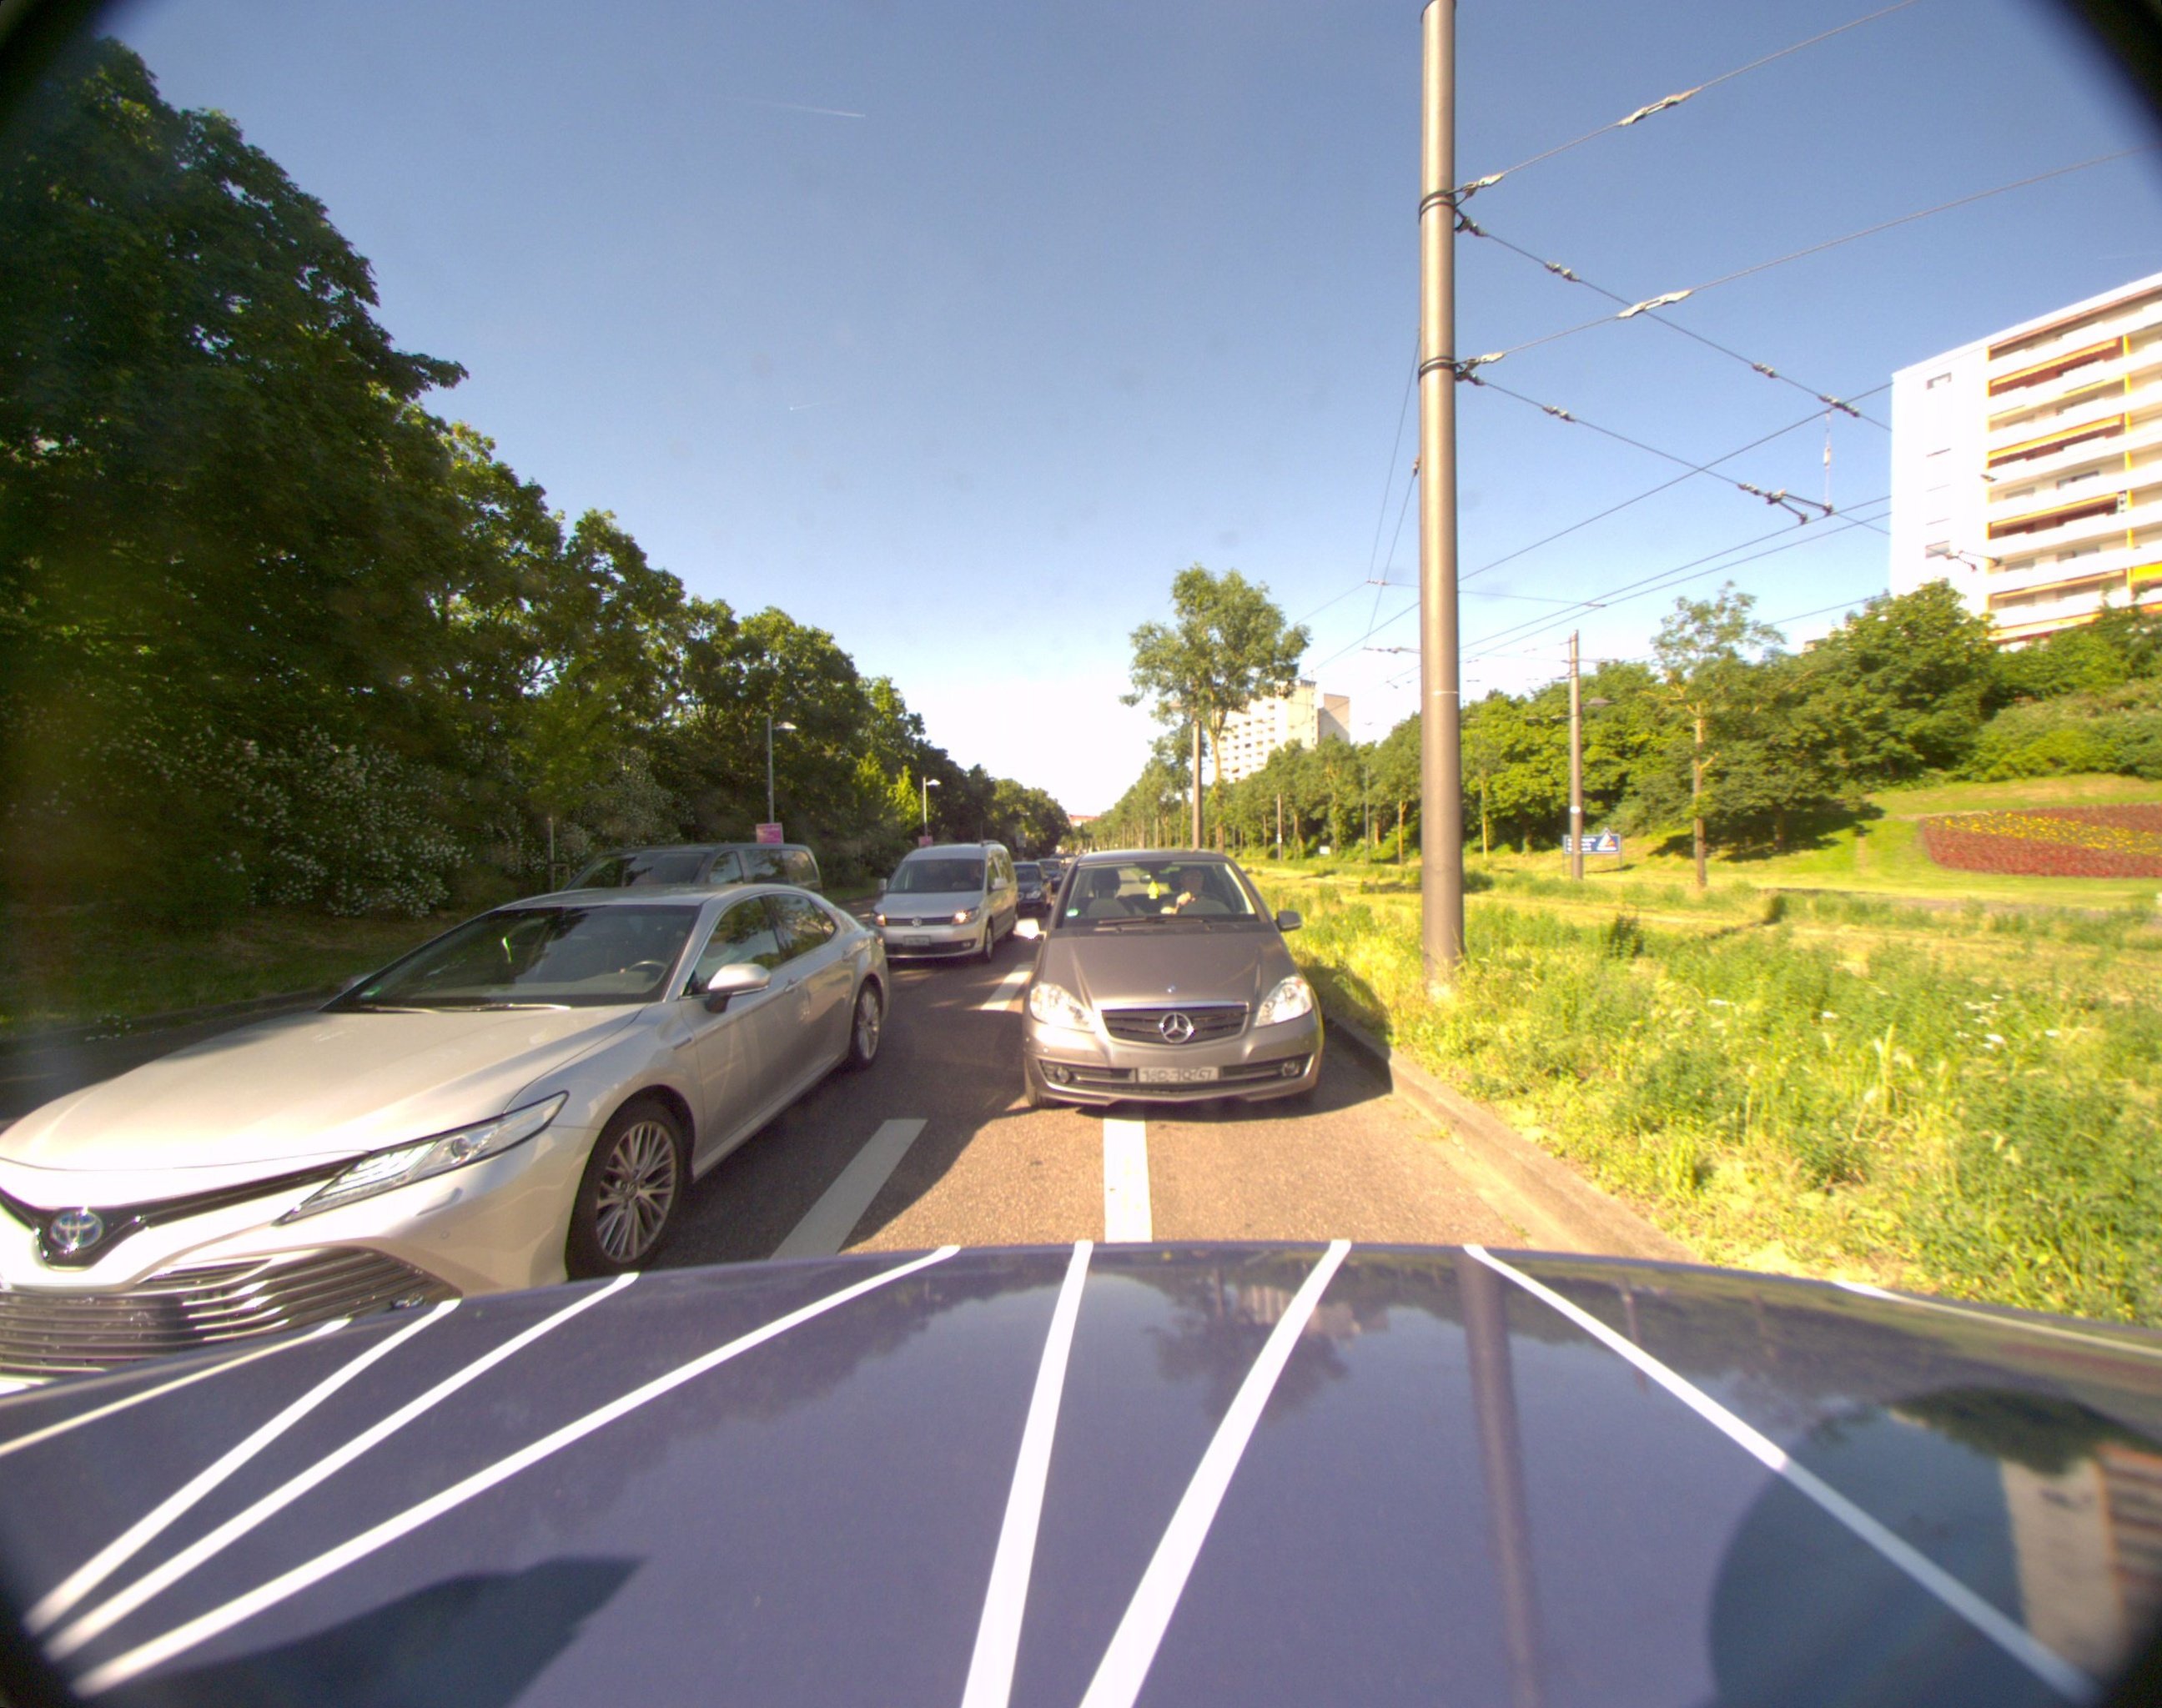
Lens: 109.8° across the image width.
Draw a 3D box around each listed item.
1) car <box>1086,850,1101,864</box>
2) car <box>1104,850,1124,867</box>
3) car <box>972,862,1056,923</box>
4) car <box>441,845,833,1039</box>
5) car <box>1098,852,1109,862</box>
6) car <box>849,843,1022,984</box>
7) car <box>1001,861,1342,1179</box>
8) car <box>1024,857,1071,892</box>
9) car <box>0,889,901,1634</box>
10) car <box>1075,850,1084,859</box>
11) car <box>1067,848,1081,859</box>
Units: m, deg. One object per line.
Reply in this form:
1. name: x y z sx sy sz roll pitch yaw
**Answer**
1. car: 1.534 0.365 95.737 1.777 1.597 4.384 -1 0 1
2. car: 3.242 0.435 74.647 1.777 1.597 4.384 -1 0 1
3. car: -1.702 0.967 20.661 1.776 1.395 4.067 -1 0 2
4. car: -5.173 0.851 9.994 1.998 1.882 5.148 -1 0 1
5. car: 3.794 0.543 127.002 1.777 1.597 4.384 -1 0 1
6. car: -2.160 0.798 12.627 1.822 1.893 4.622 -1 0 2
7. car: 0.508 0.899 6.198 1.777 1.597 4.384 -1 0 1
8. car: -1.434 0.883 34.137 1.776 1.395 4.067 -1 0 2
9. car: -2.652 1.048 4.113 2.069 1.451 4.749 -1 0 2
10. car: -0.274 0.079 145.381 1.777 1.597 4.300 -1 0 1
11. car: -0.963 -0.081 106.226 1.777 1.597 4.384 -1 0 1
